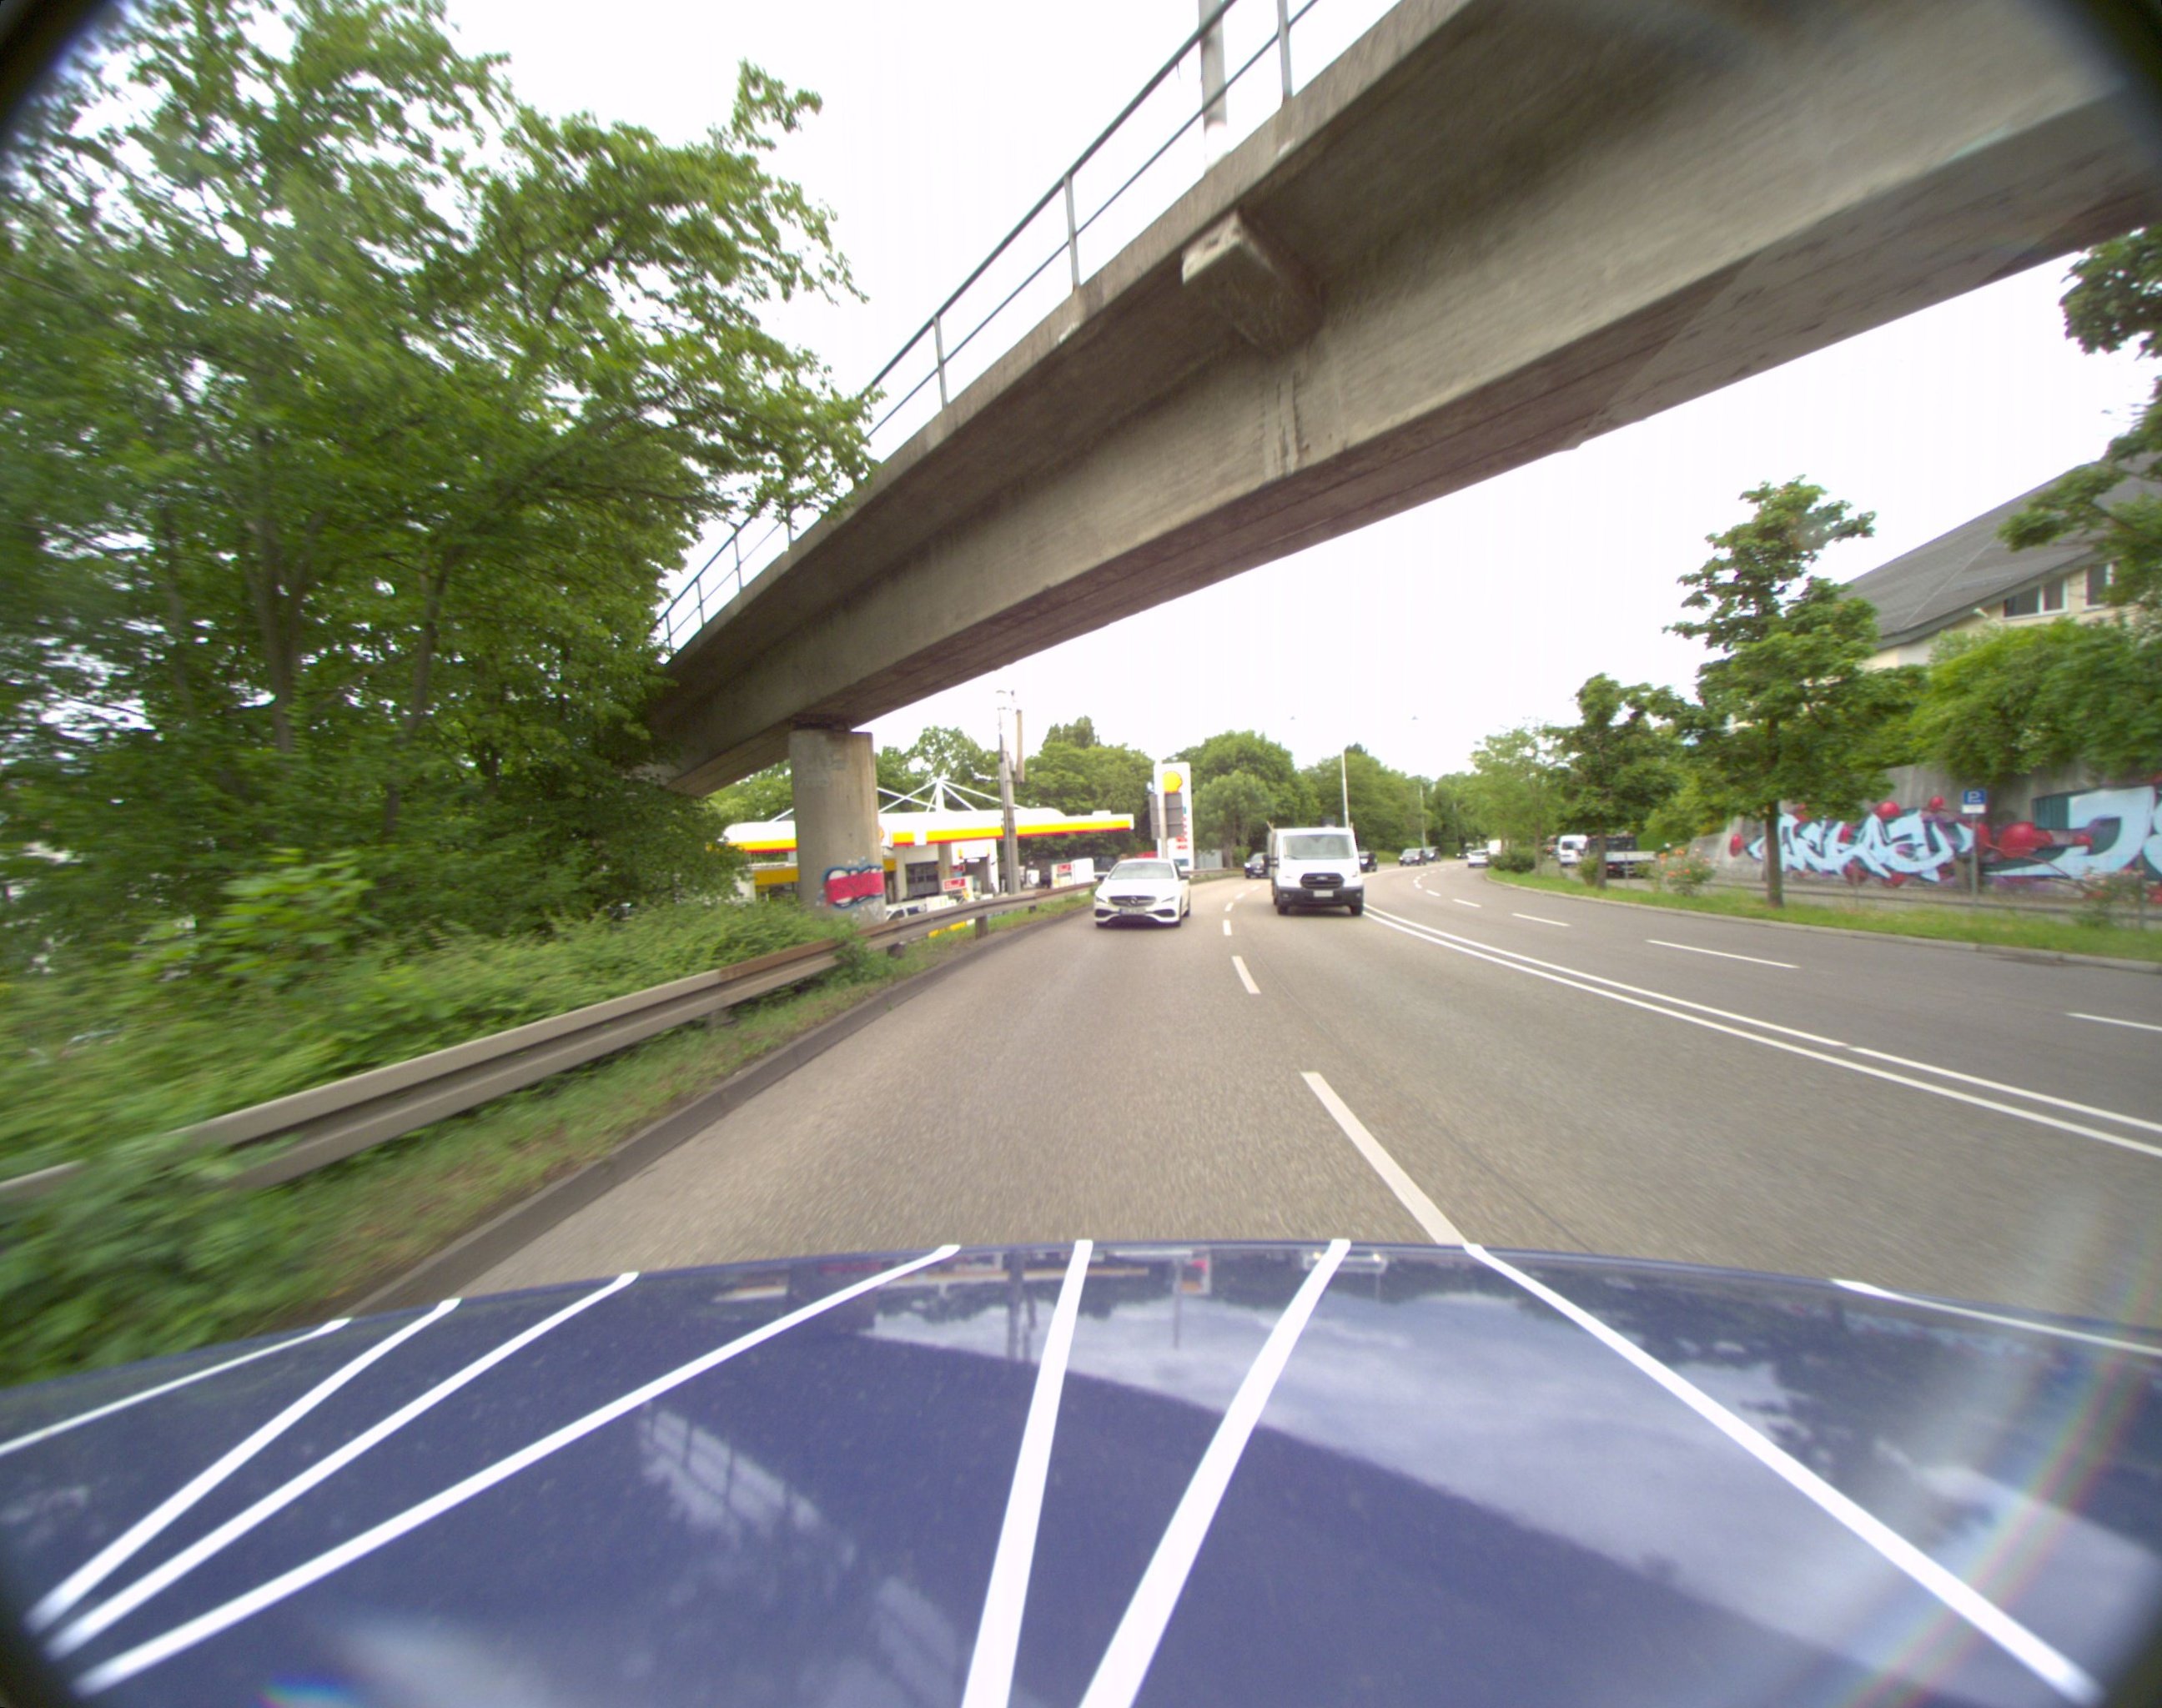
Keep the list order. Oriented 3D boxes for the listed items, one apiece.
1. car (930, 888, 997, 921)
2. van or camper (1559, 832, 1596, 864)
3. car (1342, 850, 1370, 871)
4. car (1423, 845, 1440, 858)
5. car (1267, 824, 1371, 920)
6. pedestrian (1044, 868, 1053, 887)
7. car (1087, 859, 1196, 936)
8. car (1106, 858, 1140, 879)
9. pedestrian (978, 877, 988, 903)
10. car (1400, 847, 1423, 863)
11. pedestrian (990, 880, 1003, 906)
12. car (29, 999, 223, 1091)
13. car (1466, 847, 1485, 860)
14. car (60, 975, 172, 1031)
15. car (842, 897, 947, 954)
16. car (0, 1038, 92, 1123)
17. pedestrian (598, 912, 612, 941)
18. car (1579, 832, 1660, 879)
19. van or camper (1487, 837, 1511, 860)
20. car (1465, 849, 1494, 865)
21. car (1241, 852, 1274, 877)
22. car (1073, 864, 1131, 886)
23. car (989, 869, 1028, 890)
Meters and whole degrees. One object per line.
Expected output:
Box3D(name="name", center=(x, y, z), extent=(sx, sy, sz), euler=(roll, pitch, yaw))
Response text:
Box3D(name="car", center=(-7.103, 3.025, 46.248), extent=(1.736, 1.478, 3.883), euler=(-1, 4, 36))
Box3D(name="van or camper", center=(39.290, -0.487, 60.104), extent=(1.994, 2.459, 5.721), euler=(0, 1, 38))
Box3D(name="car", center=(19.817, 0.446, 54.646), extent=(1.734, 1.403, 4.006), euler=(-2, 0, 21))
Box3D(name="car", center=(42.609, -0.270, 92.354), extent=(1.726, 1.469, 4.007), euler=(-2, 0, 27))
Box3D(name="car", center=(6.155, 0.430, 20.379), extent=(1.997, 2.161, 6.274), euler=(-1, 0, 11))
Box3D(name="pedestrian", center=(-2.720, 1.930, 63.592), extent=(0.469, 1.530, 0.431), euler=(-5, 2, -16))
Box3D(name="car", center=(1.463, 0.865, 16.815), extent=(1.819, 1.339, 4.003), euler=(0, 2, 13))
Box3D(name="car", center=(3.630, 1.218, 66.480), extent=(1.735, 1.428, 4.286), euler=(-5, 4, -13))
Box3D(name="pedestrian", center=(-6.620, 2.430, 51.497), extent=(0.491, 1.695, 0.432), euler=(-1, 1, 45))
Box3D(name="car", center=(31.856, 0.101, 73.220), extent=(1.726, 1.469, 4.007), euler=(-2, 0, 28))
Box3D(name="pedestrian", center=(-5.756, 2.633, 51.657), extent=(0.542, 1.694, 0.611), euler=(-1, 1, 31))
Box3D(name="car", center=(-26.739, 5.276, 21.505), extent=(1.626, 1.512, 4.296), euler=(-5, 0, -26))
Box3D(name="car", center=(45.695, -0.054, 87.886), extent=(1.736, 1.406, 4.438), euler=(0, 1, 30))
Box3D(name="car", center=(-34.031, 5.215, 26.904), extent=(1.604, 1.341, 3.578), euler=(-7, 1, -39))
Box3D(name="car", center=(-8.785, 3.306, 36.224), extent=(1.736, 1.999, 4.720), euler=(-2, 3, 35))
Box3D(name="car", center=(-24.605, 5.253, 16.783), extent=(1.652, 1.386, 3.764), euler=(-5, 0, -23))
Box3D(name="pedestrian", center=(-27.980, 4.266, 44.676), extent=(0.509, 1.587, 0.424), euler=(-5, 5, -42))
Box3D(name="car", center=(28.367, 0.026, 40.287), extent=(2.269, 2.260, 6.337), euler=(0, 1, 24))
Box3D(name="van or camper", center=(43.645, -0.599, 79.252), extent=(2.010, 2.248, 5.973), euler=(0, 0, 30))
Box3D(name="car", center=(34.165, 0.240, 65.284), extent=(1.704, 1.400, 3.814), euler=(0, 0, 20))
Box3D(name="car", center=(10.379, 0.593, 44.772), extent=(1.732, 1.402, 4.004), euler=(-2, 0, 12))
Box3D(name="car", center=(1.691, 1.652, 61.153), extent=(4.297, 1.424, 1.598), euler=(-3, 3, -20))
Box3D(name="car", center=(-6.088, 2.088, 63.426), extent=(1.726, 1.428, 4.094), euler=(-3, 4, -30))
